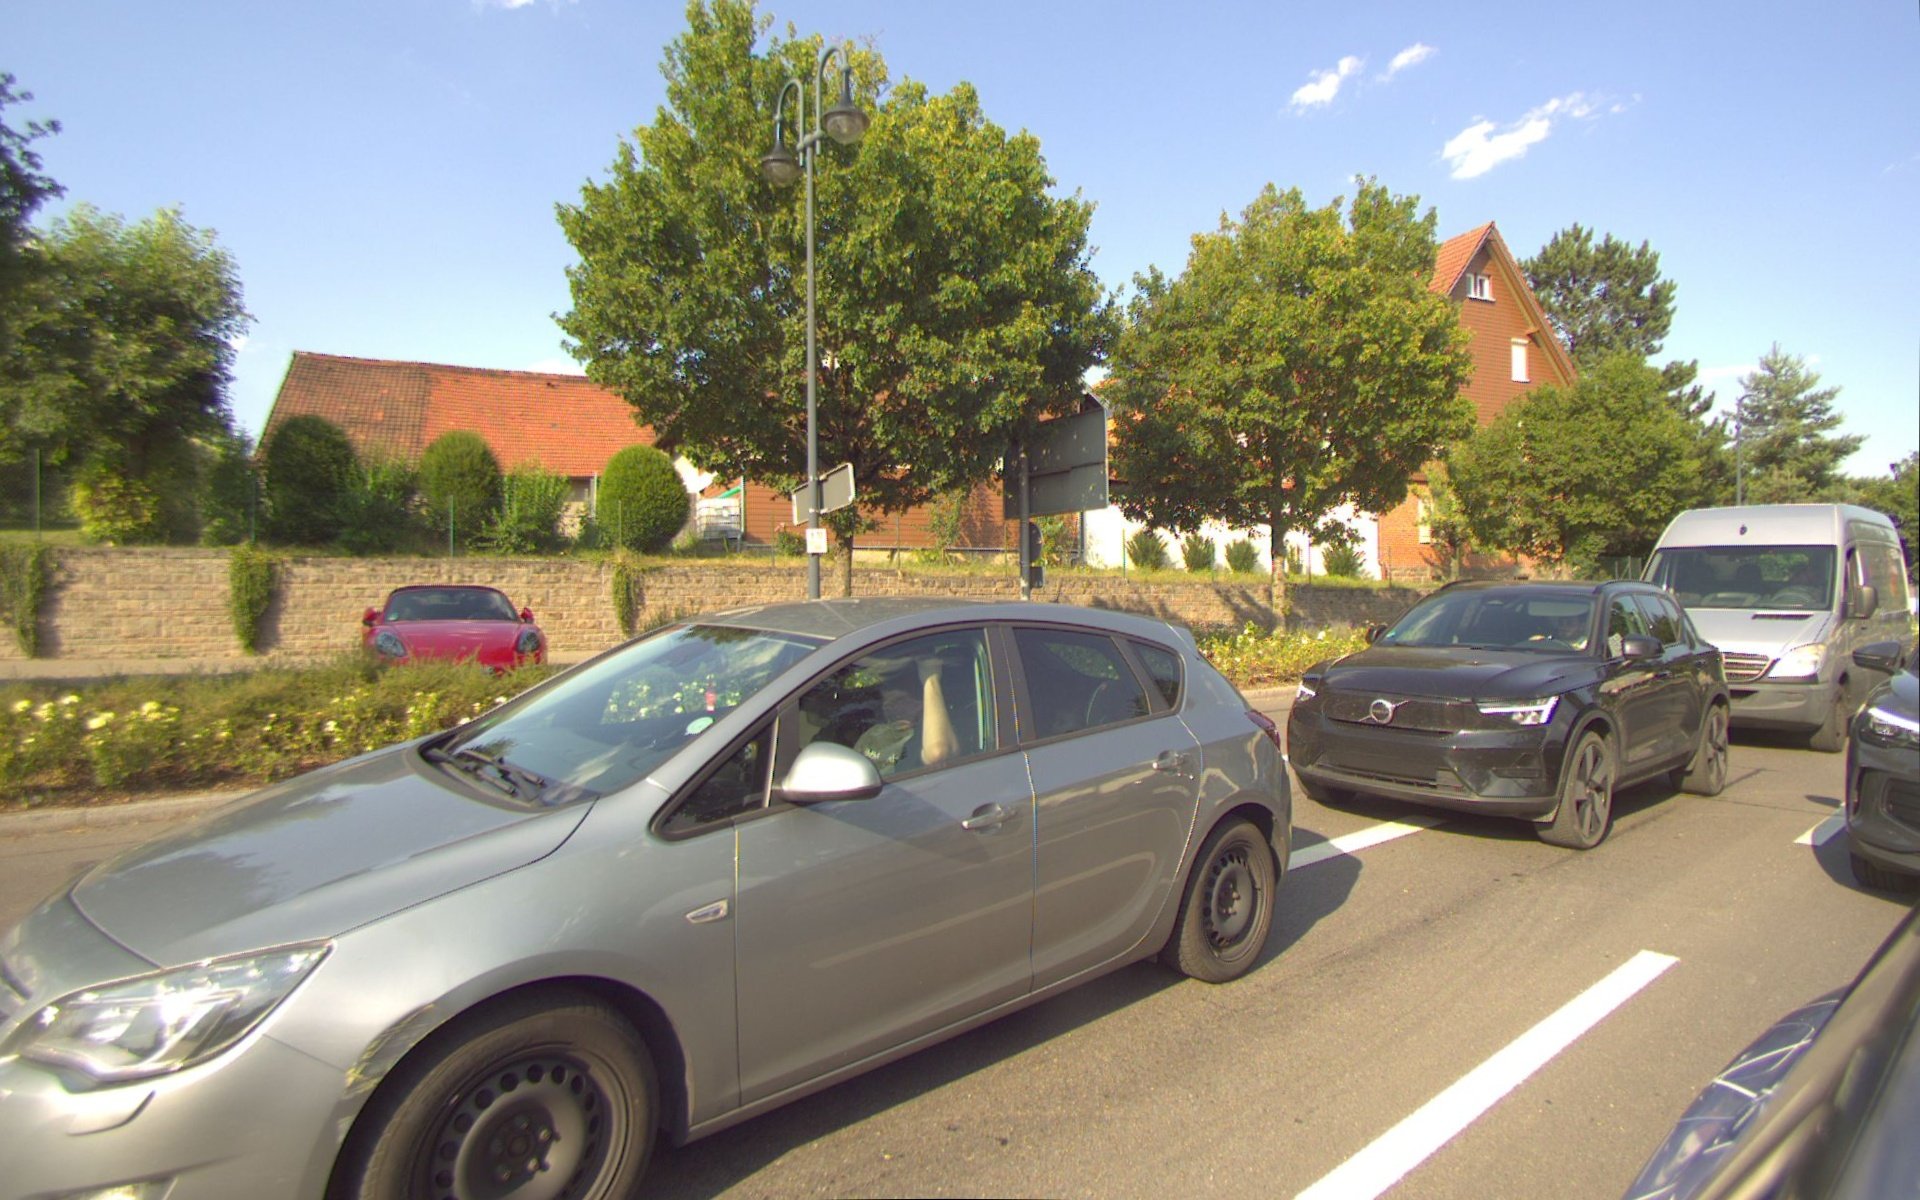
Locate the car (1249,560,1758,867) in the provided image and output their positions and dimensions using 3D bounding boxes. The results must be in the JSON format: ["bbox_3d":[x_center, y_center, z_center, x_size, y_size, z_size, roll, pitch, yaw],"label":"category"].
[{"bbox_3d":[4.161,0.568,7.447,4.242,1.629,1.844,0,2,-40],"label":"car"}]

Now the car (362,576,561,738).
[{"bbox_3d":[-5.896,0.525,11.709,1.743,1.510,4.156,0,0,-31],"label":"car"}]

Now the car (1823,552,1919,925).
[{"bbox_3d":[6.215,0.620,5.333,4.242,1.629,1.844,0,2,-40],"label":"car"}]

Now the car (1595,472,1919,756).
[{"bbox_3d":[9.709,0.088,11.950,5.938,2.601,1.992,0,1,-40],"label":"car"}]

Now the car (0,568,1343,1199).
[{"bbox_3d":[-0.558,0.666,3.517,4.244,1.471,1.765,0,2,-42],"label":"car"}]
